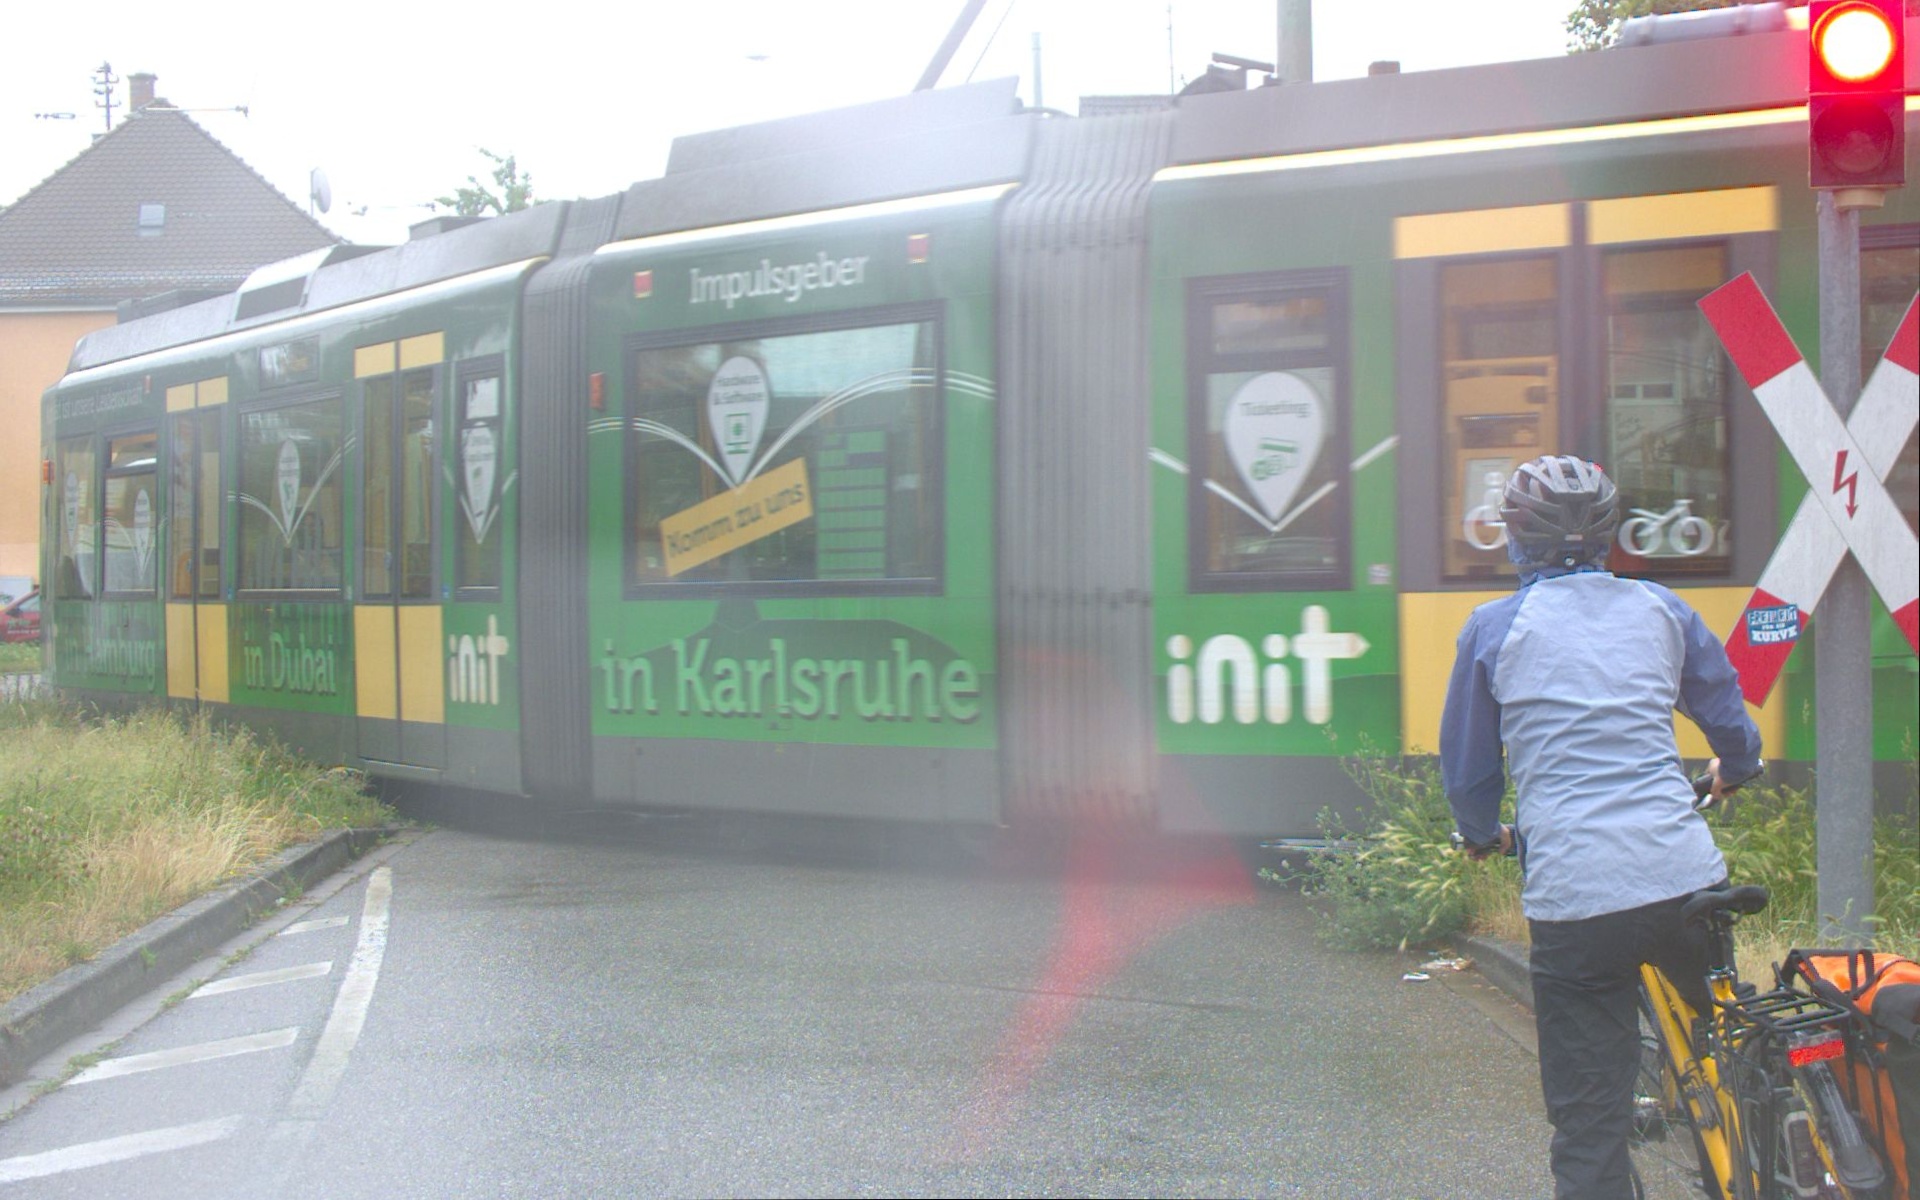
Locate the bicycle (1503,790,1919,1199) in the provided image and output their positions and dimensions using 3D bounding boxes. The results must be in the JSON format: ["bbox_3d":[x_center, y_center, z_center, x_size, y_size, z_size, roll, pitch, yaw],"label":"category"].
[{"bbox_3d":[1.348,0.907,6.076,0.446,1.001,1.728,-1,1,-2],"label":"bicycle"}]

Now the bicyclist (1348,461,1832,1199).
[{"bbox_3d":[1.092,0.581,6.132,0.667,1.620,0.853,1,0,-2],"label":"bicyclist"}]

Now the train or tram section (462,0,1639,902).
[{"bbox_3d":[0.290,-0.606,16.249,2.762,3.541,4.985,-2,1,-44],"label":"train or tram section"}]

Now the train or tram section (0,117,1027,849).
[{"bbox_3d":[-3.872,-0.619,23.109,2.760,3.541,13.134,-2,1,-27],"label":"train or tram section"}]

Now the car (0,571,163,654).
[{"bbox_3d":[-16.664,0.214,62.602,3.986,1.451,1.834,1,0,-6],"label":"car"}]

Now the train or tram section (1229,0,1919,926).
[{"bbox_3d":[6.925,-0.688,11.399,12.187,3.541,2.764,-1,1,34],"label":"train or tram section"}]
